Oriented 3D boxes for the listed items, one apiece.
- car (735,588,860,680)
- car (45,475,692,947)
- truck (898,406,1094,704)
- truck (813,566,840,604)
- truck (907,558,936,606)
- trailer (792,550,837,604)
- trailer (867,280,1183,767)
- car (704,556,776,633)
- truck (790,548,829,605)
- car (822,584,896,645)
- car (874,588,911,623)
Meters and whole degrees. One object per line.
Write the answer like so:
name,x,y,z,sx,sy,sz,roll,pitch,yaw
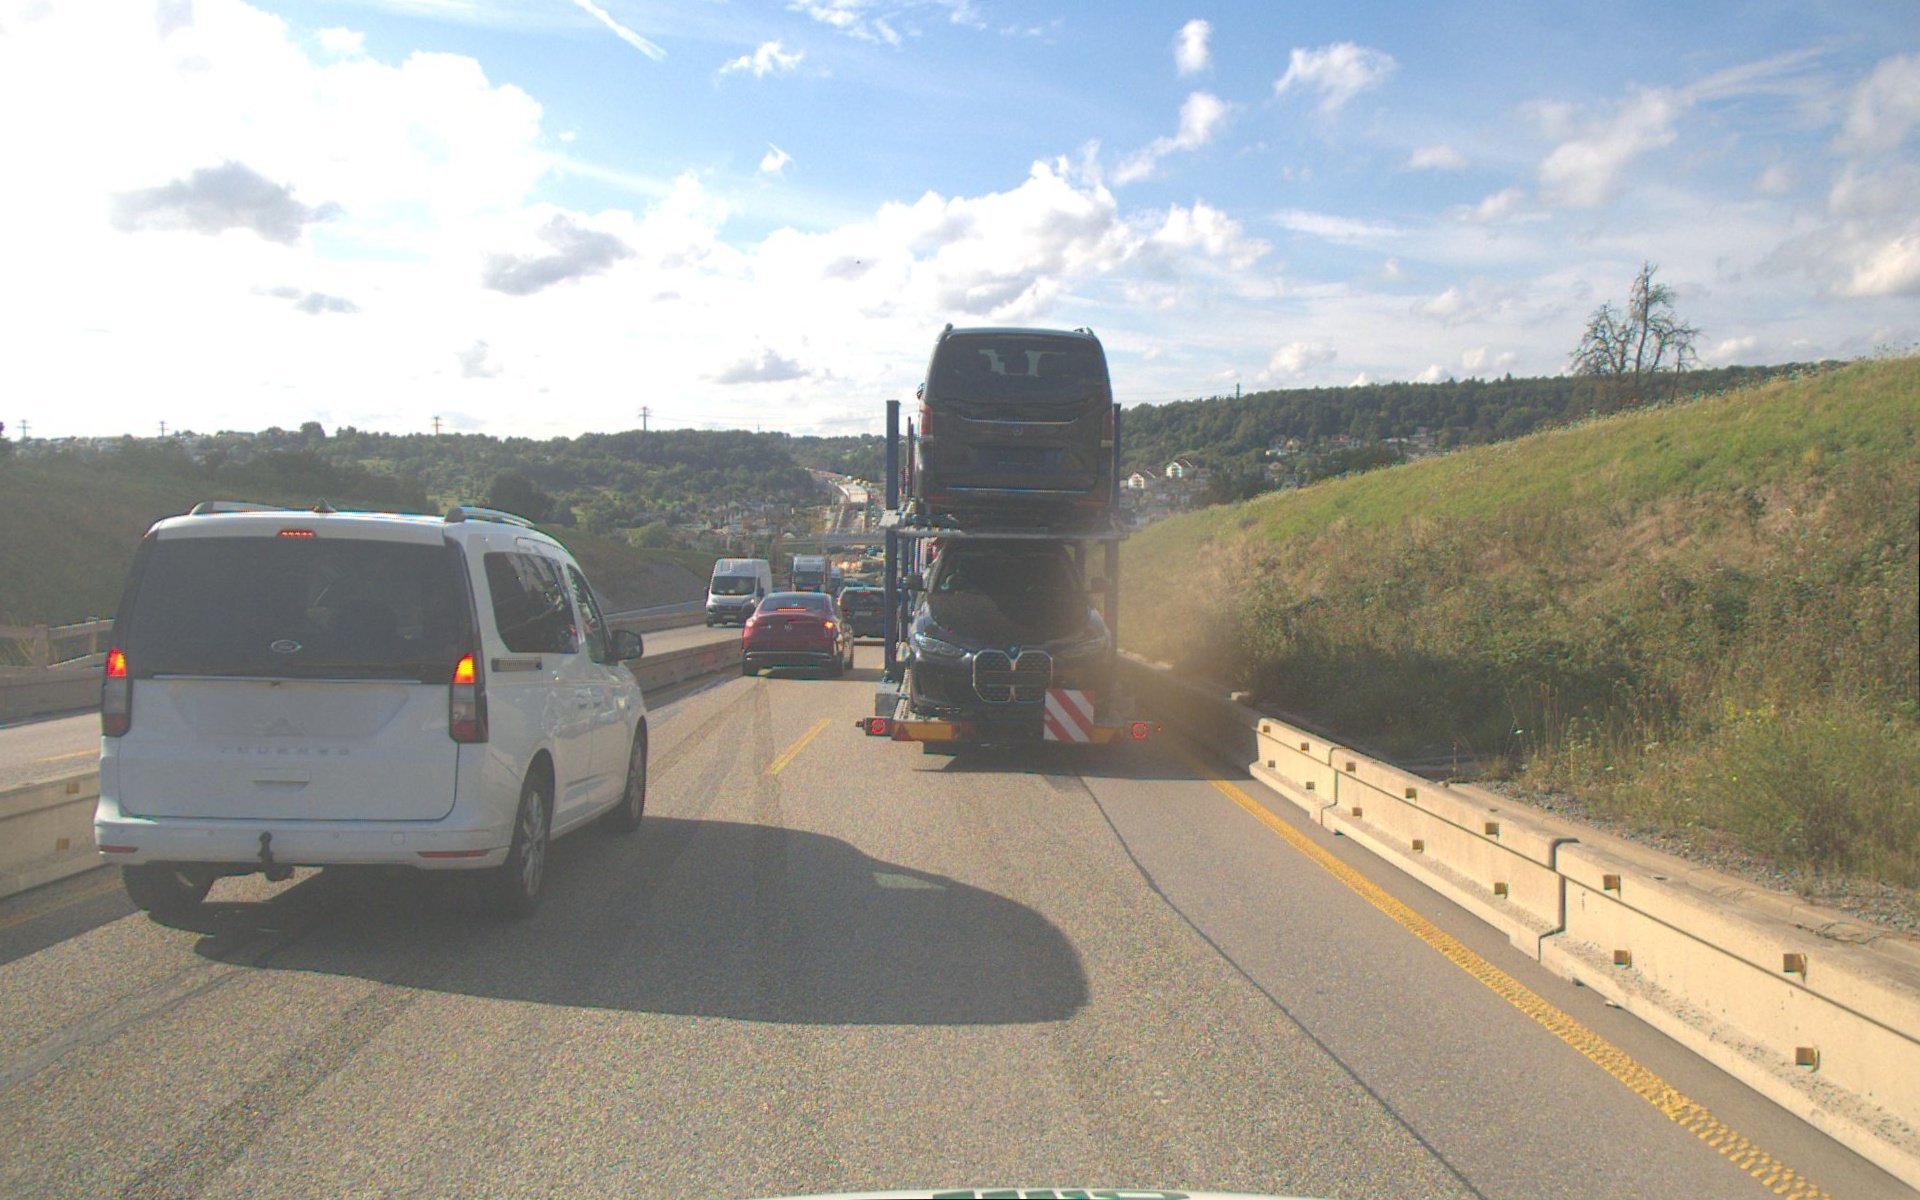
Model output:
car,-2.912,0.563,30.605,1.785,1.518,4.685,1,1,0
car,-2.743,0.420,8.881,1.785,1.855,4.457,1,1,1
truck,0.505,-0.618,25.185,2.623,3.990,6.027,0,0,0
truck,-14.918,-1.696,185.512,2.585,4.171,10.813,0,0,-2
truck,-3.928,-1.796,167.490,2.806,4.650,11.653,0,0,-2
trailer,-11.524,-1.787,132.490,2.561,4.023,13.872,0,0,-1
trailer,0.522,-0.676,19.644,2.653,4.099,11.418,0,0,0
car,-8.927,-0.221,67.677,2.067,2.885,6.138,-3,0,-1
truck,-11.423,-1.795,125.639,2.562,4.226,5.779,0,0,-2
car,-2.902,0.384,48.416,1.953,1.653,4.749,1,0,-1
car,-3.315,0.253,81.589,1.760,1.624,4.741,0,0,-2
